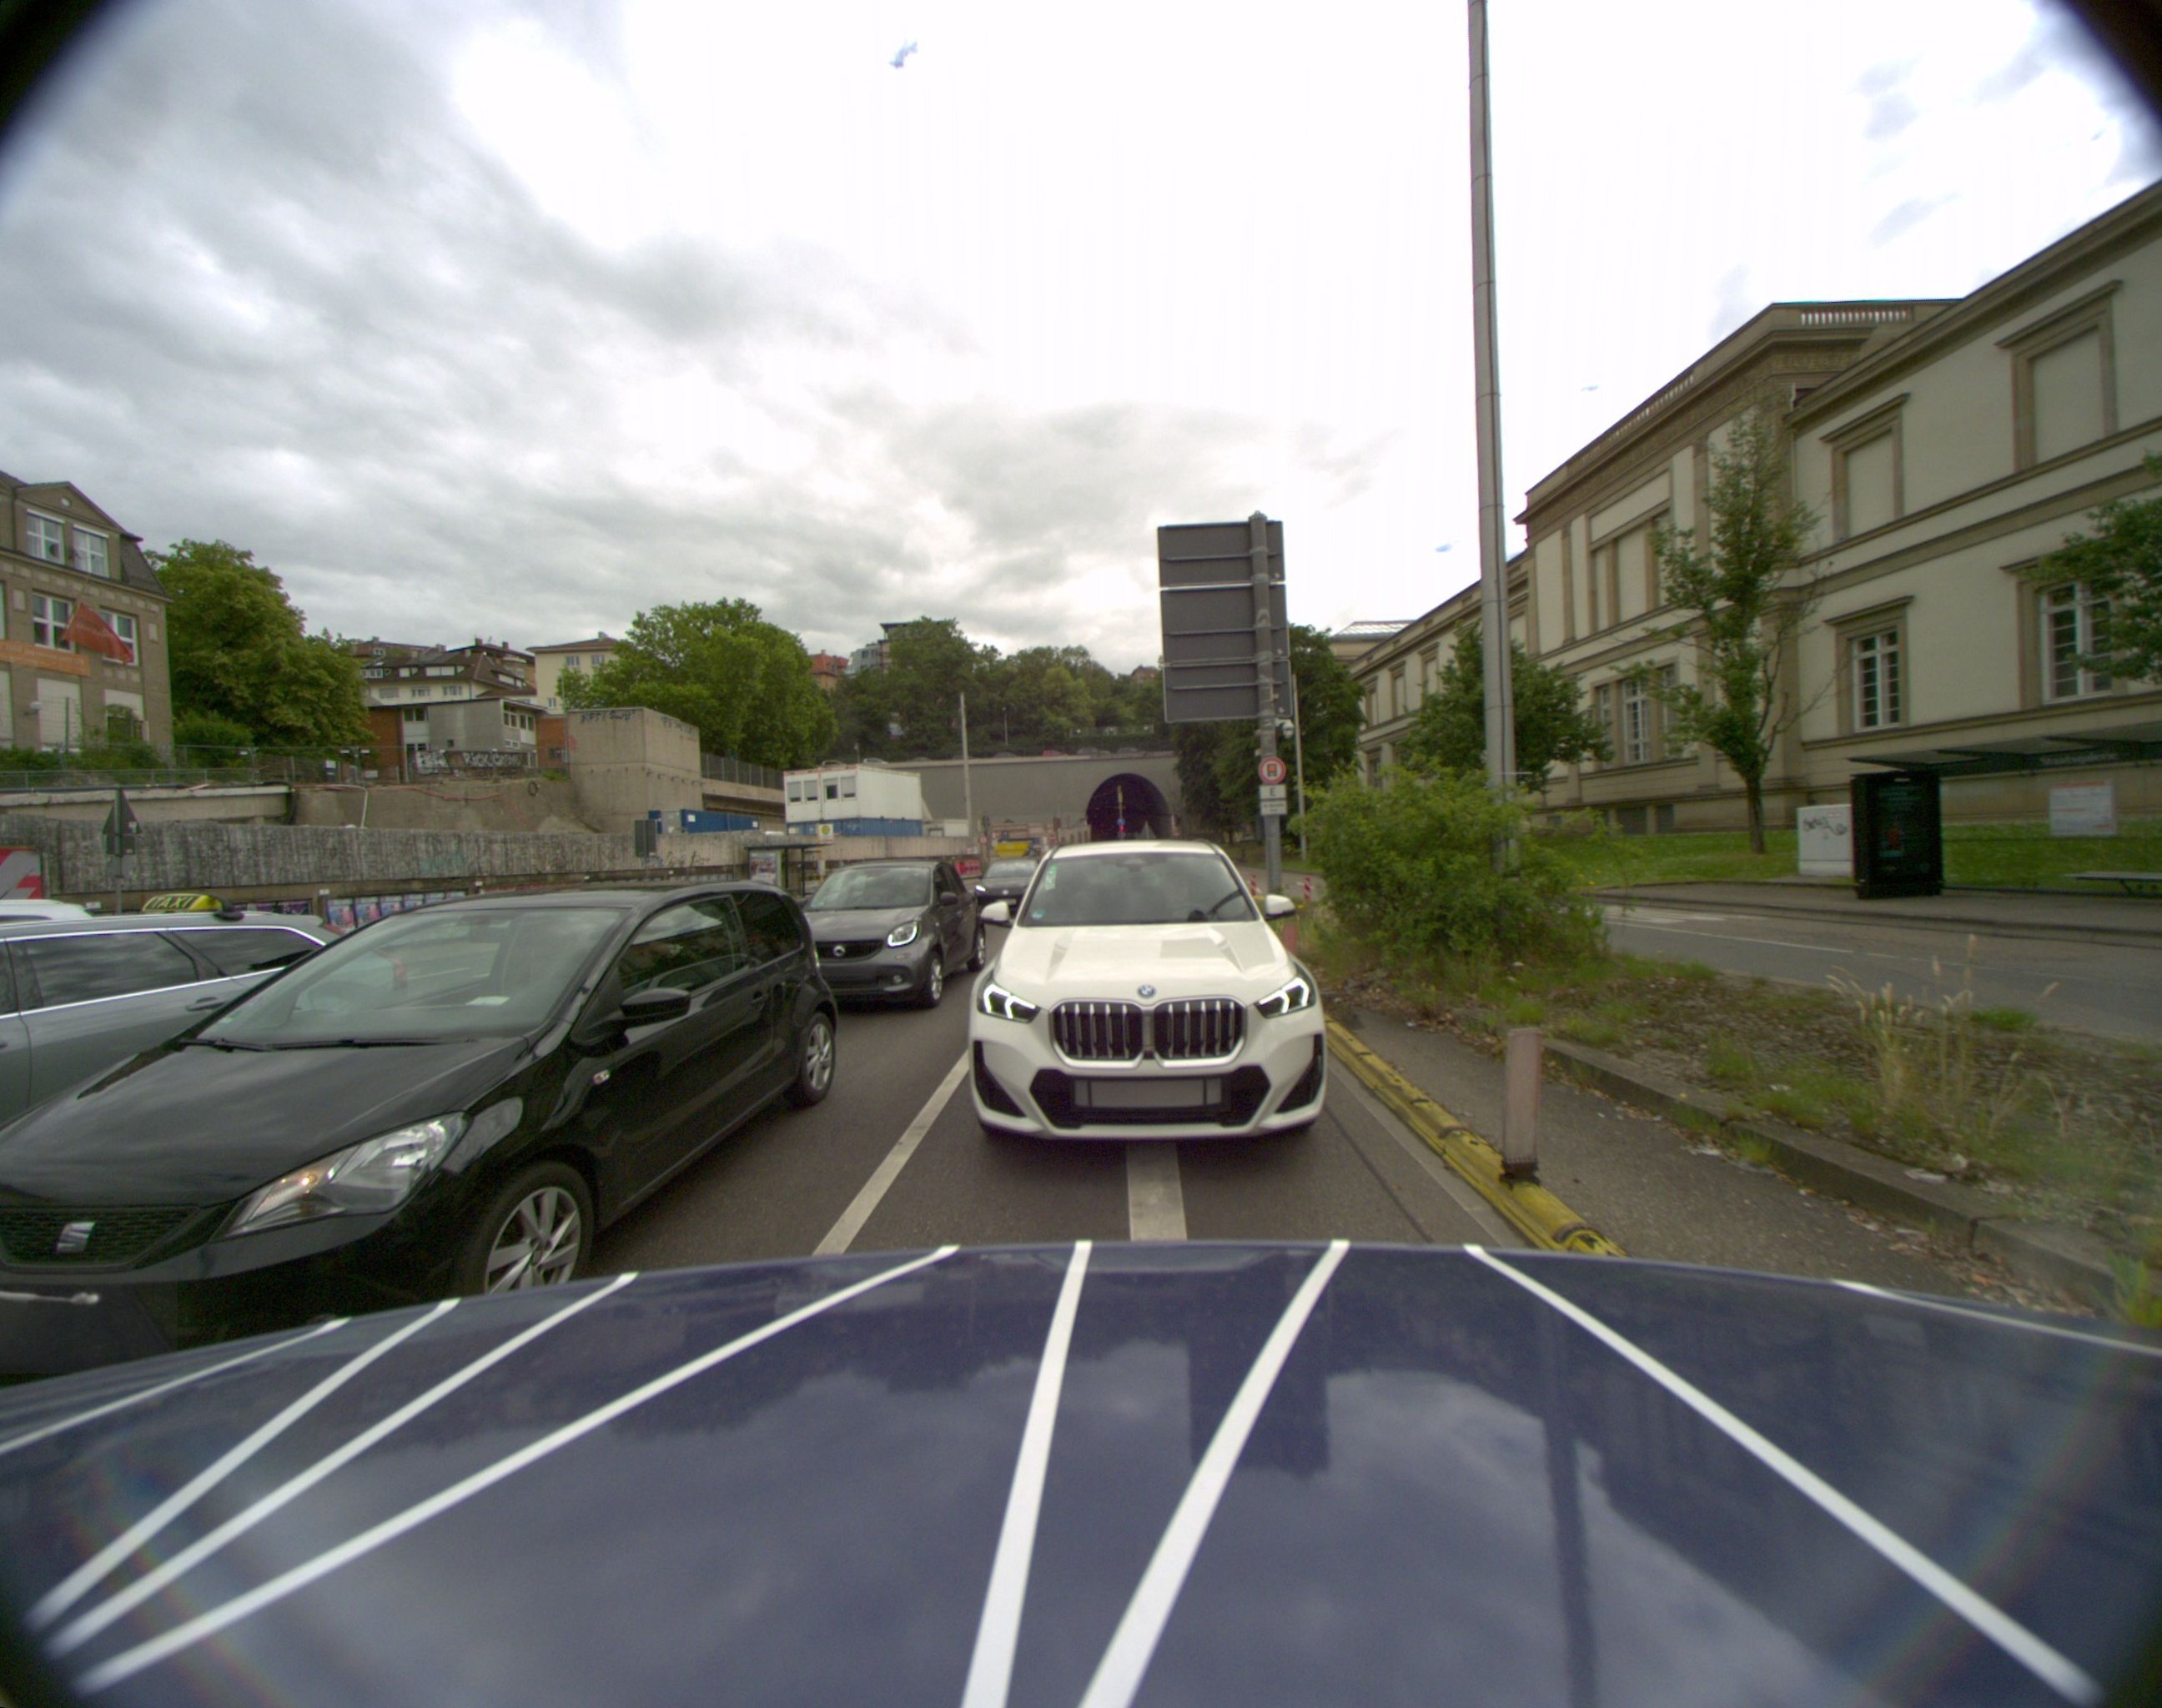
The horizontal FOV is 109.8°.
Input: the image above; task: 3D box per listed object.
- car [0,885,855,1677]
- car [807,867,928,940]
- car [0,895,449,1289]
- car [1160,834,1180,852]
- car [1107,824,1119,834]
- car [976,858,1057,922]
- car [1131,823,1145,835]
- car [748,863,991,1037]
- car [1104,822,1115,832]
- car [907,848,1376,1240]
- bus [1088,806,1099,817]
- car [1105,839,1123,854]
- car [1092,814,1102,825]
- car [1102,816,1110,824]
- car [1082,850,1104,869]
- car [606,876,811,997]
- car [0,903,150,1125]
[{"bbox_3d":[-2.543,1.004,3.449,1.829,1.450,3.700,-2,1,1],"label":"car"},{"bbox_3d":[-4.884,1.072,17.919,1.680,1.358,3.806,-2,1,1],"label":"car"},{"bbox_3d":[-5.828,1.195,3.412,1.829,1.616,4.808,-2,1,1],"label":"car"},{"bbox_3d":[9.043,-1.138,77.419,1.836,1.736,4.000,-2,1,4],"label":"car"},{"bbox_3d":[5.693,-4.441,135.163,1.903,1.615,4.107,-2,0,0],"label":"car"},{"bbox_3d":[-1.677,0.919,21.038,1.680,1.450,3.807,-2,1,3],"label":"car"},{"bbox_3d":[8.475,-3.684,112.442,1.902,1.615,4.109,-2,0,6],"label":"car"},{"bbox_3d":[-2.223,0.936,8.997,1.720,1.535,3.575,-2,0,2],"label":"car"},{"bbox_3d":[5.562,-5.301,149.560,1.903,1.615,4.107,-2,0,0],"label":"car"},{"bbox_3d":[0.292,0.823,5.148,1.987,1.616,3.670,-2,1,1],"label":"car"},{"bbox_3d":[4.086,-13.796,246.291,3.171,3.130,9.118,-2,1,-1],"label":"bus"},{"bbox_3d":[3.317,-0.793,77.020,1.680,1.358,3.806,-2,1,1],"label":"car"},{"bbox_3d":[4.050,-8.675,192.811,2.203,2.493,4.758,-2,1,2],"label":"car"},{"bbox_3d":[5.571,-7.665,169.688,1.778,1.609,3.802,-2,1,-1],"label":"car"},{"bbox_3d":[0.938,0.438,61.329,1.680,1.358,3.806,-2,1,1],"label":"car"},{"bbox_3d":[-5.451,1.140,11.488,1.665,1.423,2.713,-2,1,1],"label":"car"},{"bbox_3d":[-9.078,1.302,4.555,1.680,1.616,4.209,-2,1,1],"label":"car"}]
